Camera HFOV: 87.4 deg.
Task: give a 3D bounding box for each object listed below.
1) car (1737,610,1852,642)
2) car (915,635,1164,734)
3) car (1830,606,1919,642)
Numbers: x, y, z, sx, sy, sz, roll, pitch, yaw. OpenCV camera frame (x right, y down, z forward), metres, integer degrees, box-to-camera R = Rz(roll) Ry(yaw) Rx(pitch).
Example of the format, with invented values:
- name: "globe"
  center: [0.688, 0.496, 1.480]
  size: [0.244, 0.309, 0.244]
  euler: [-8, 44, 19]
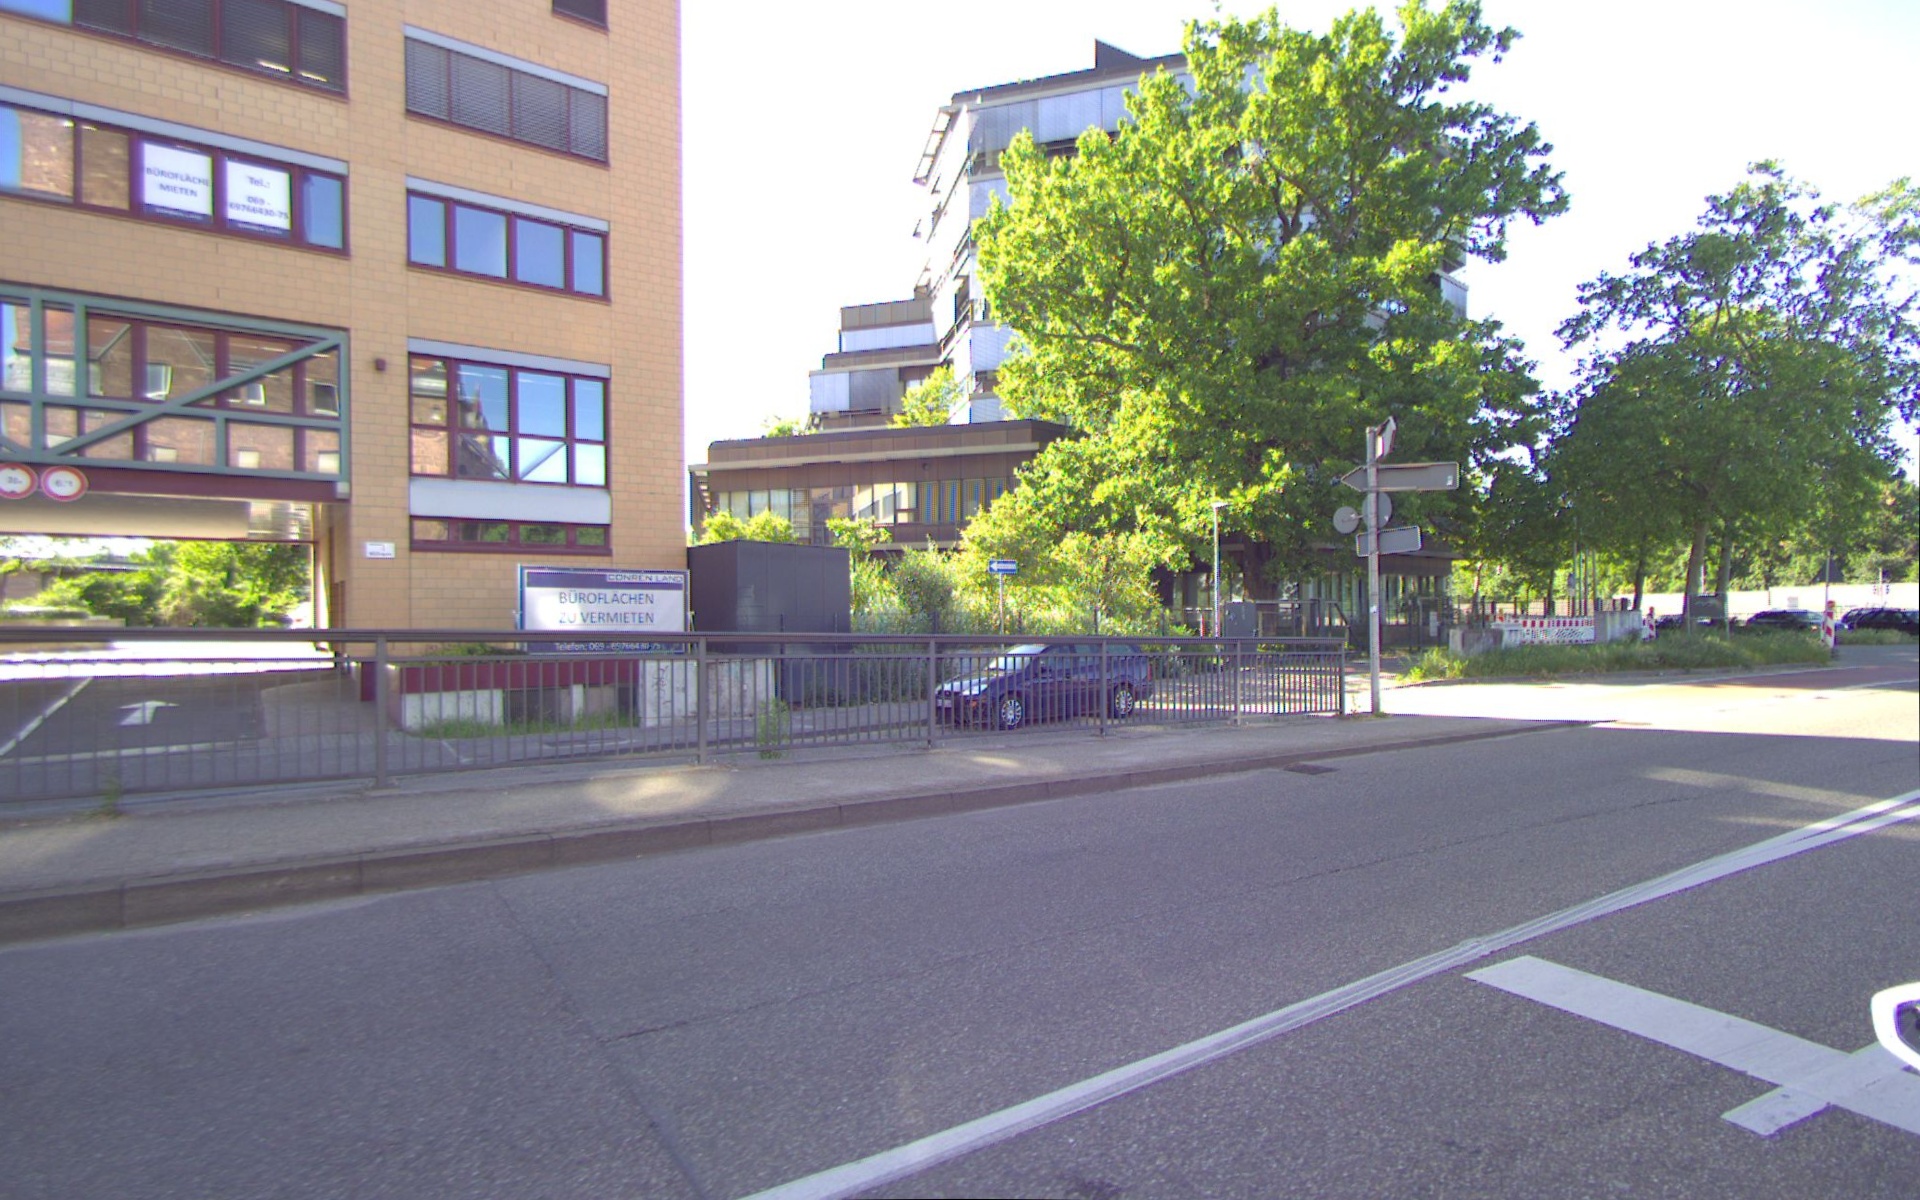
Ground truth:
- name: "car"
  center: [40.819, 1.253, 49.273]
  size: [1.790, 1.458, 4.450]
  euler: [-1, -1, -2]
- name: "car"
  center: [1.525, 1.462, 18.480]
  size: [4.403, 1.523, 1.809]
  euler: [0, -1, -33]
- name: "car"
  center: [39.992, 1.006, 42.833]
  size: [1.790, 1.458, 4.450]
  euler: [-1, -1, -2]
